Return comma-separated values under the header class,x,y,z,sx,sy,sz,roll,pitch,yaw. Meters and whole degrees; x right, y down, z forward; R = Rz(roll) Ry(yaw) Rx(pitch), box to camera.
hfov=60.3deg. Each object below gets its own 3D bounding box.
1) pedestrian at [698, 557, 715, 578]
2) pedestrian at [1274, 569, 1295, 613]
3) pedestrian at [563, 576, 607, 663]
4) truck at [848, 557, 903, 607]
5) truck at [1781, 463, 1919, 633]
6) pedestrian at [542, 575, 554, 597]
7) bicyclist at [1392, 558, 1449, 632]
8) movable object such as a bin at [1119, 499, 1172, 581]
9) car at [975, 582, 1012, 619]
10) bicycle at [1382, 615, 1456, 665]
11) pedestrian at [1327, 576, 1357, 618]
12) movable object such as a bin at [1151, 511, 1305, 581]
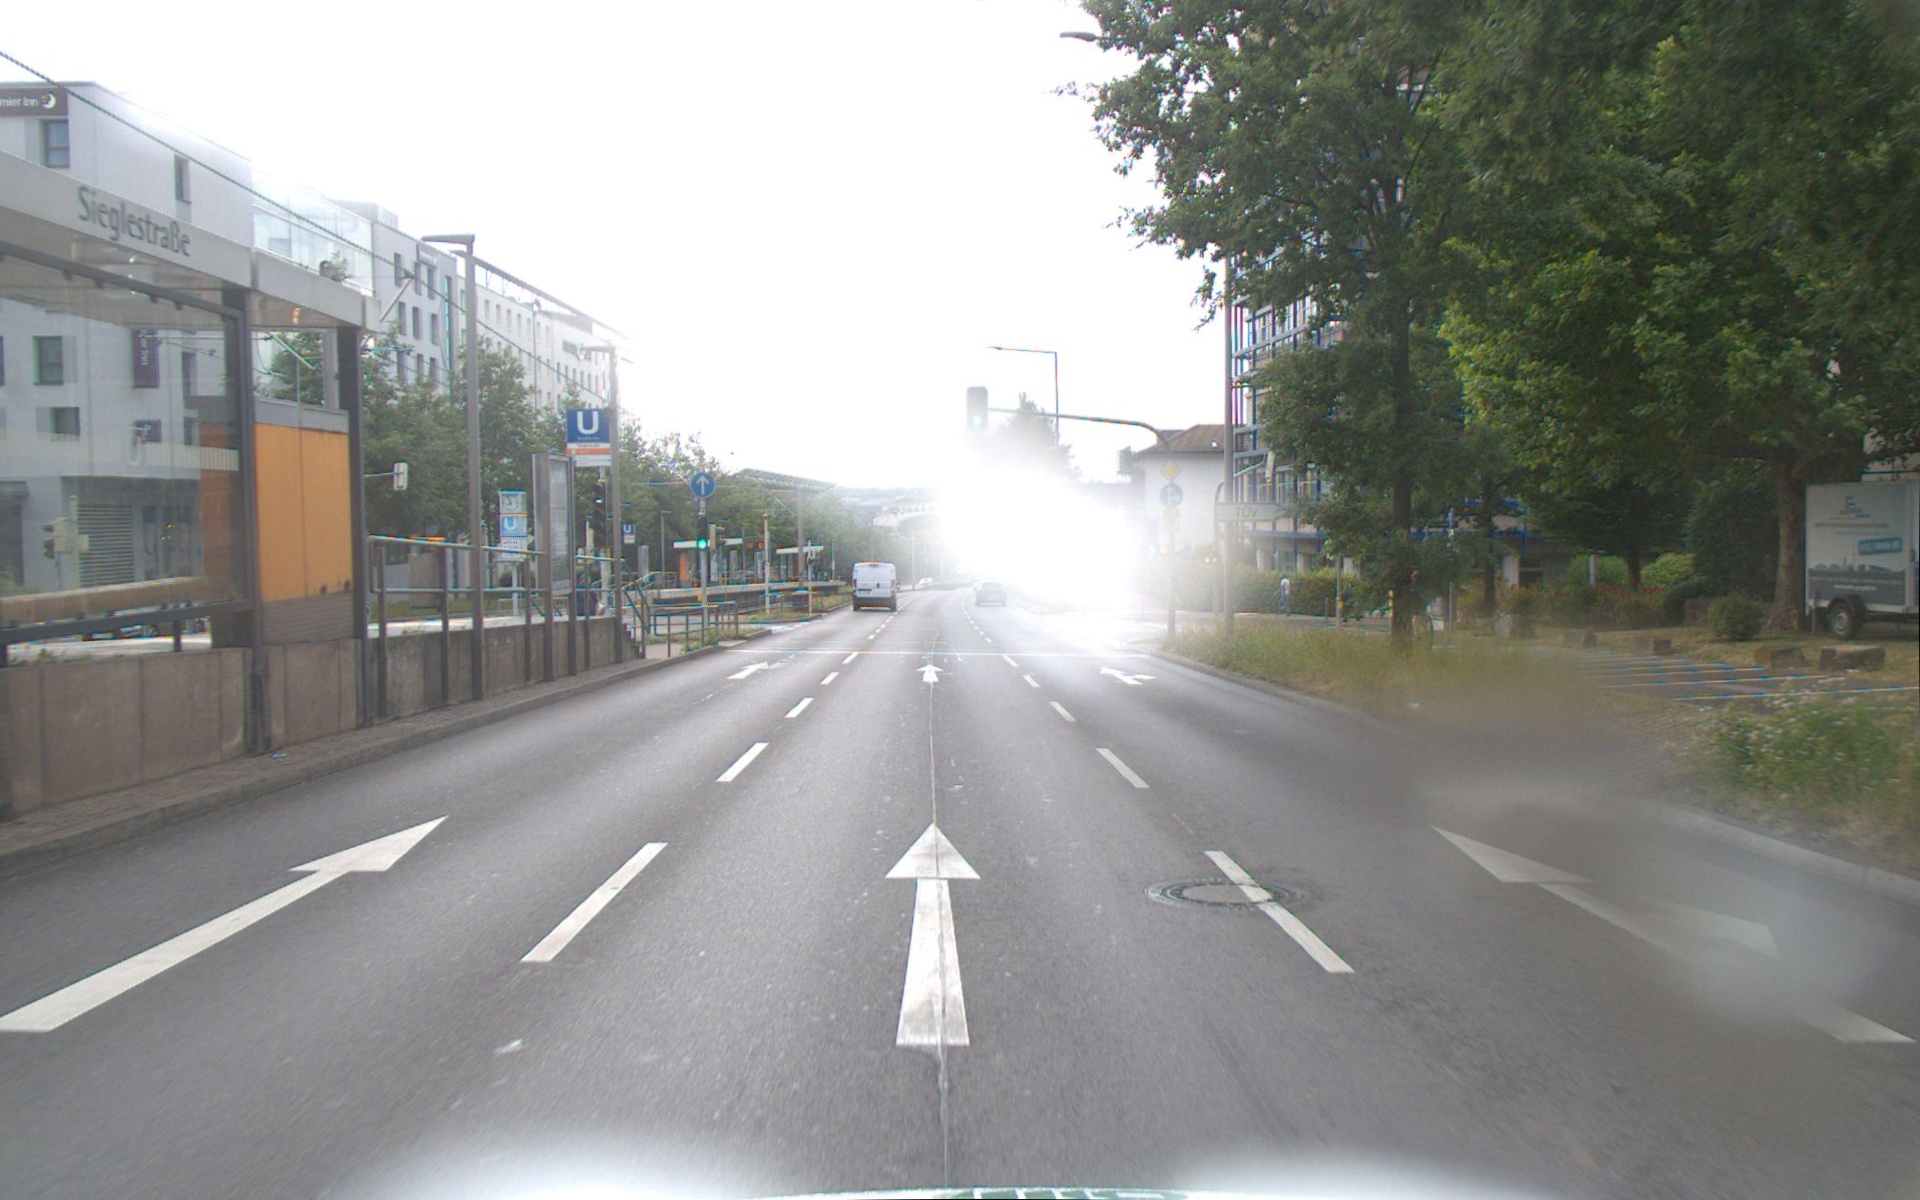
class,x,y,z,sx,sy,sz,roll,pitch,yaw
pedestrian,-15.765,-2.035,102.918,0.941,1.322,0.684,-1,1,0
pedestrian,12.684,-0.356,64.604,0.544,1.681,0.830,0,1,-10
pedestrian,-7.423,0.376,32.743,0.693,1.679,0.643,0,1,-30
truck,-4.053,-0.846,80.062,2.312,2.301,5.306,1,0,0
truck,15.181,-0.780,26.598,1.712,2.561,3.997,1,0,-4
pedestrian,-30.871,-1.038,123.954,0.588,1.605,0.835,1,0,1
bicyclist,8.382,-0.099,30.112,0.642,1.310,1.219,2,0,-1
movable object such as a bin,13.788,-4.380,123.643,3.222,5.784,8.766,1,0,2
car,1.910,0.020,93.524,1.952,2.049,3.936,1,0,2
bicycle,8.361,0.716,30.198,0.654,0.823,2.318,1,0,-1
pedestrian,14.493,-0.116,62.734,0.887,1.568,0.796,0,1,38
movable object such as a bin,21.714,-4.354,134.574,11.893,5.353,3.789,-1,0,-1
